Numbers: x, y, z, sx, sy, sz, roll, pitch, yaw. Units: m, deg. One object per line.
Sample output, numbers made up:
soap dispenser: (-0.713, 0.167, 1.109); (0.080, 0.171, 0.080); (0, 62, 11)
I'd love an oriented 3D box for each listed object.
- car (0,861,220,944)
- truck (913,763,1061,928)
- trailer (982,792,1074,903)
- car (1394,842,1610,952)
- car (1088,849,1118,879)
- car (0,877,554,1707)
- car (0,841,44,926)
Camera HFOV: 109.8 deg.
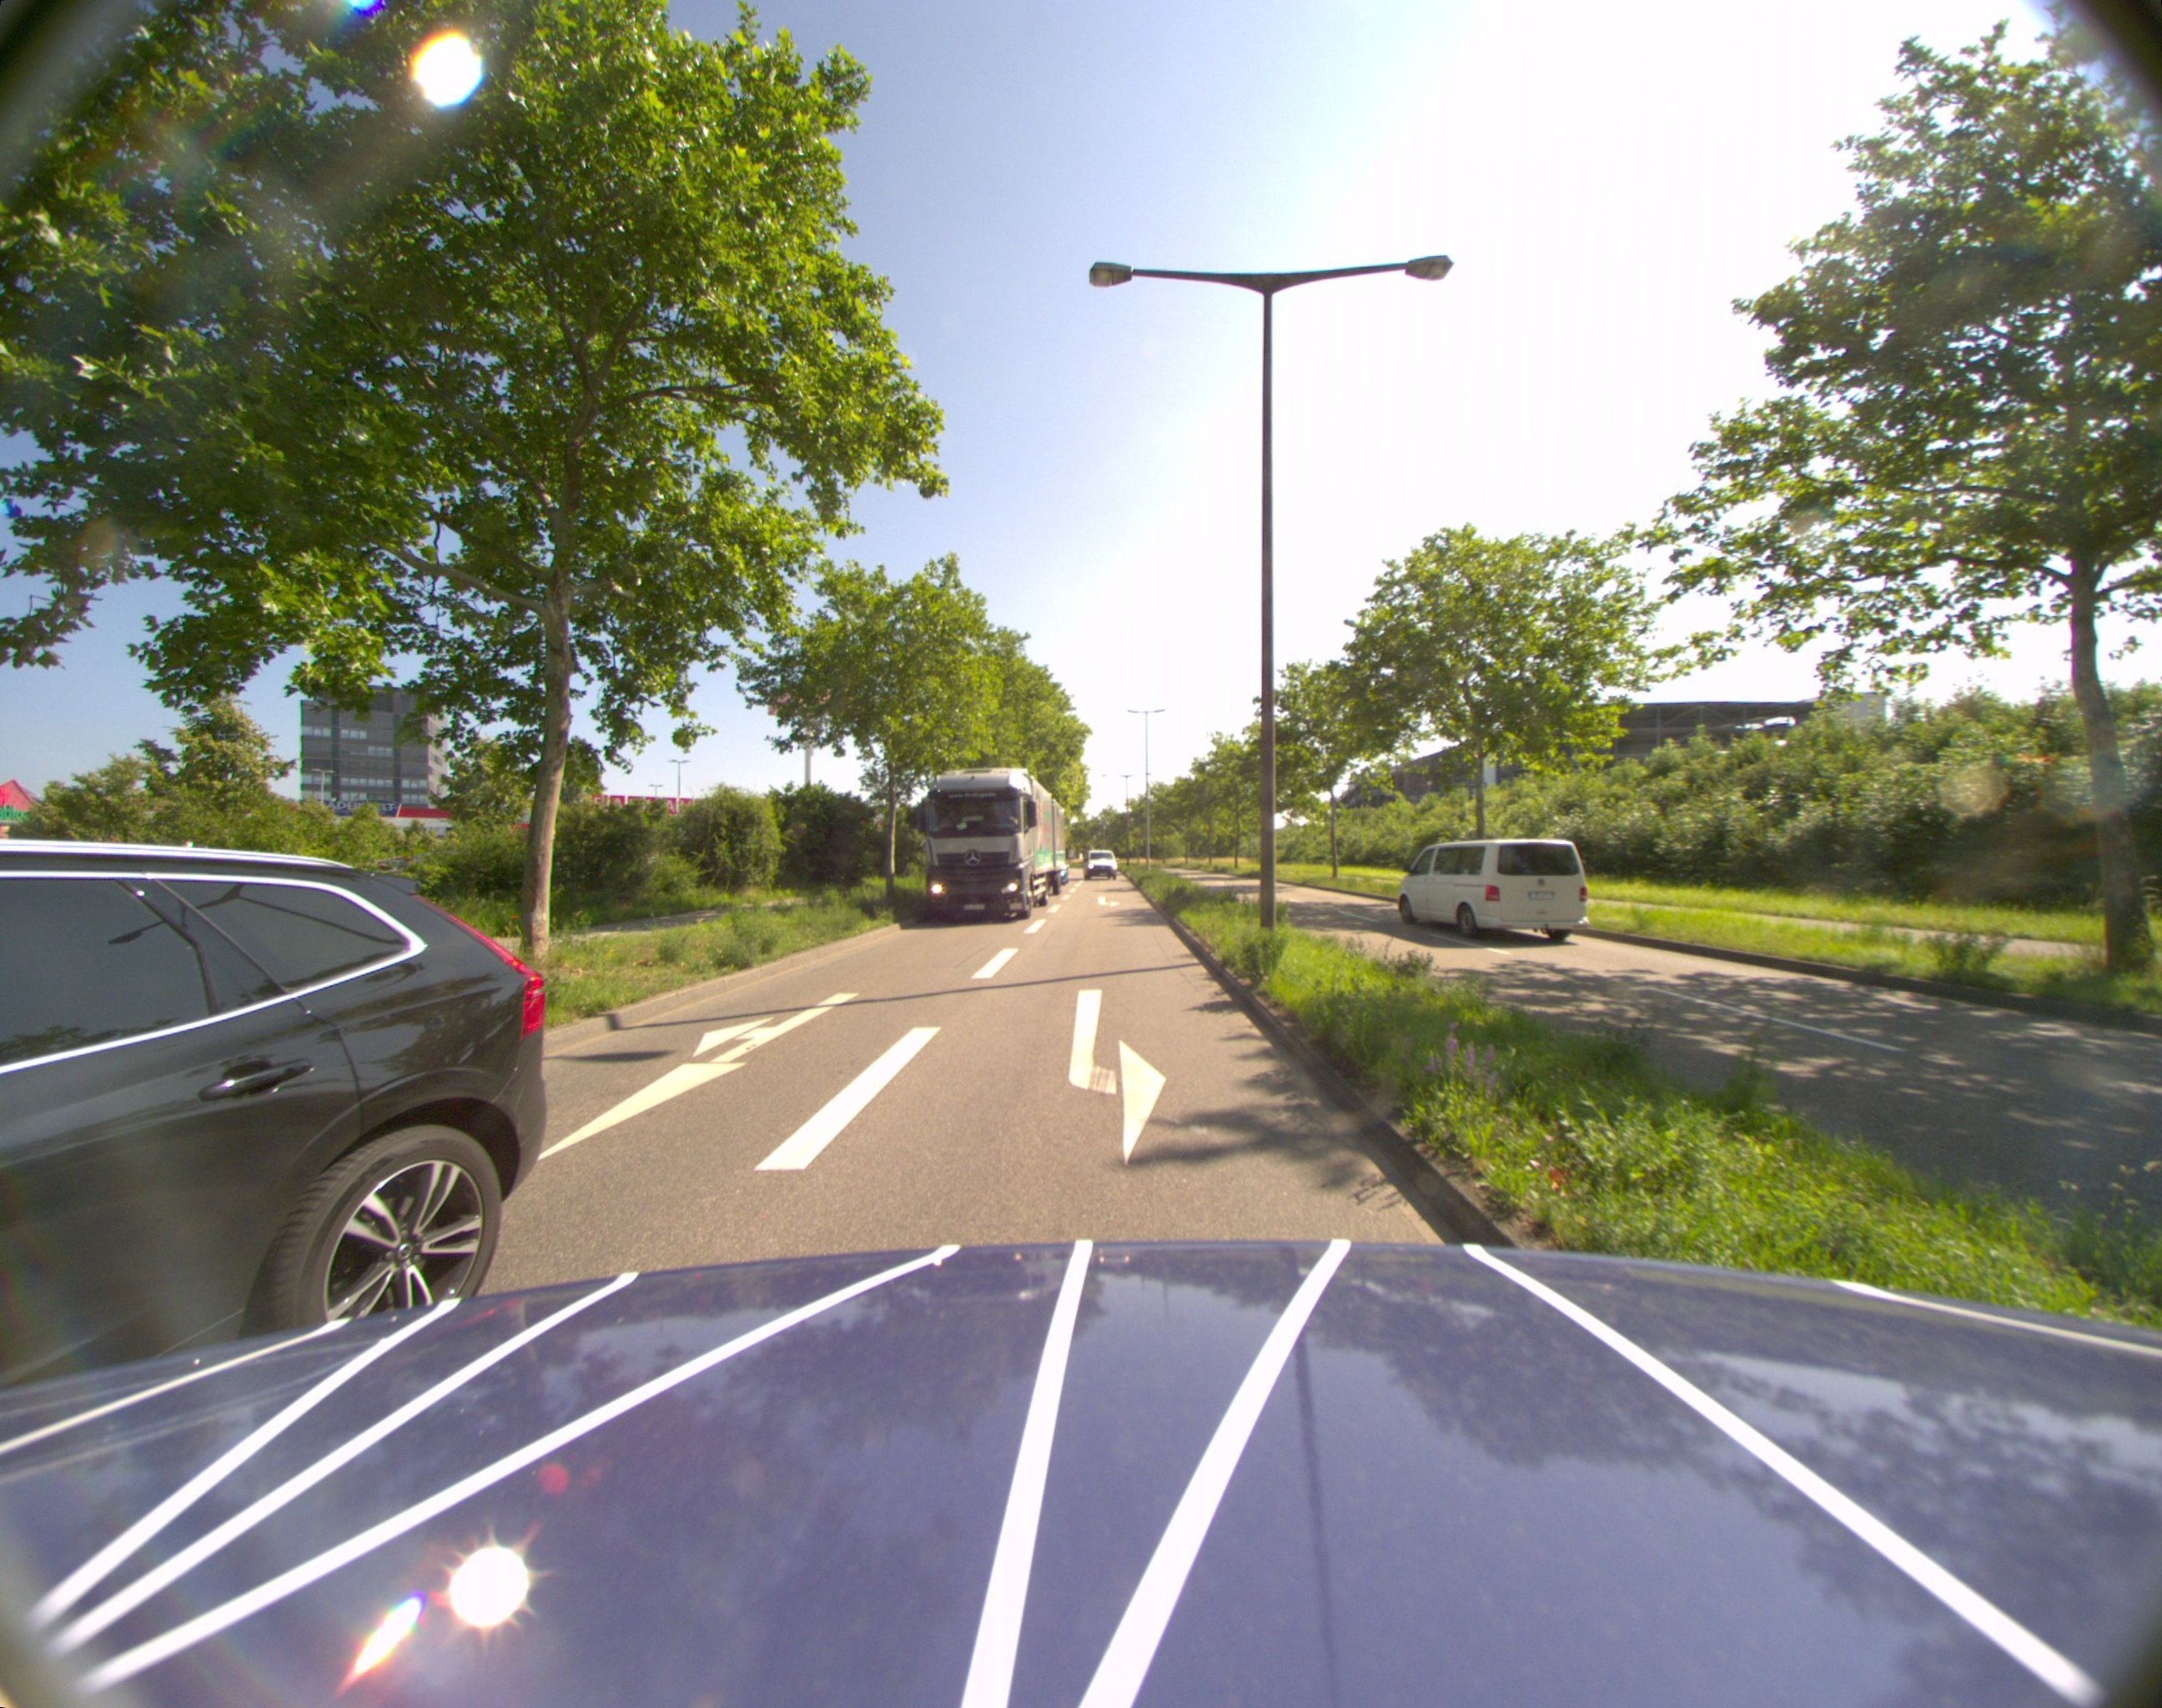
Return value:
car: (-22.166, 1.047, 16.720); (4.083, 1.582, 1.880); (-2, 1, -2)
truck: (-2.335, -0.237, 22.354); (2.735, 3.867, 8.723); (-1, 1, 3)
trailer: (-1.901, -0.265, 30.608); (2.743, 3.854, 7.736); (-1, 1, 3)
car: (8.291, 0.741, 15.573); (1.998, 1.887, 4.575); (1, 0, 3)
car: (1.415, 0.596, 50.173); (1.872, 1.889, 4.881); (0, 0, 1)
car: (-3.021, 0.938, 0.693); (1.879, 1.582, 4.433); (-2, 1, 1)
car: (-22.188, 0.626, 13.727); (4.083, 1.582, 1.880); (-2, 1, -2)
